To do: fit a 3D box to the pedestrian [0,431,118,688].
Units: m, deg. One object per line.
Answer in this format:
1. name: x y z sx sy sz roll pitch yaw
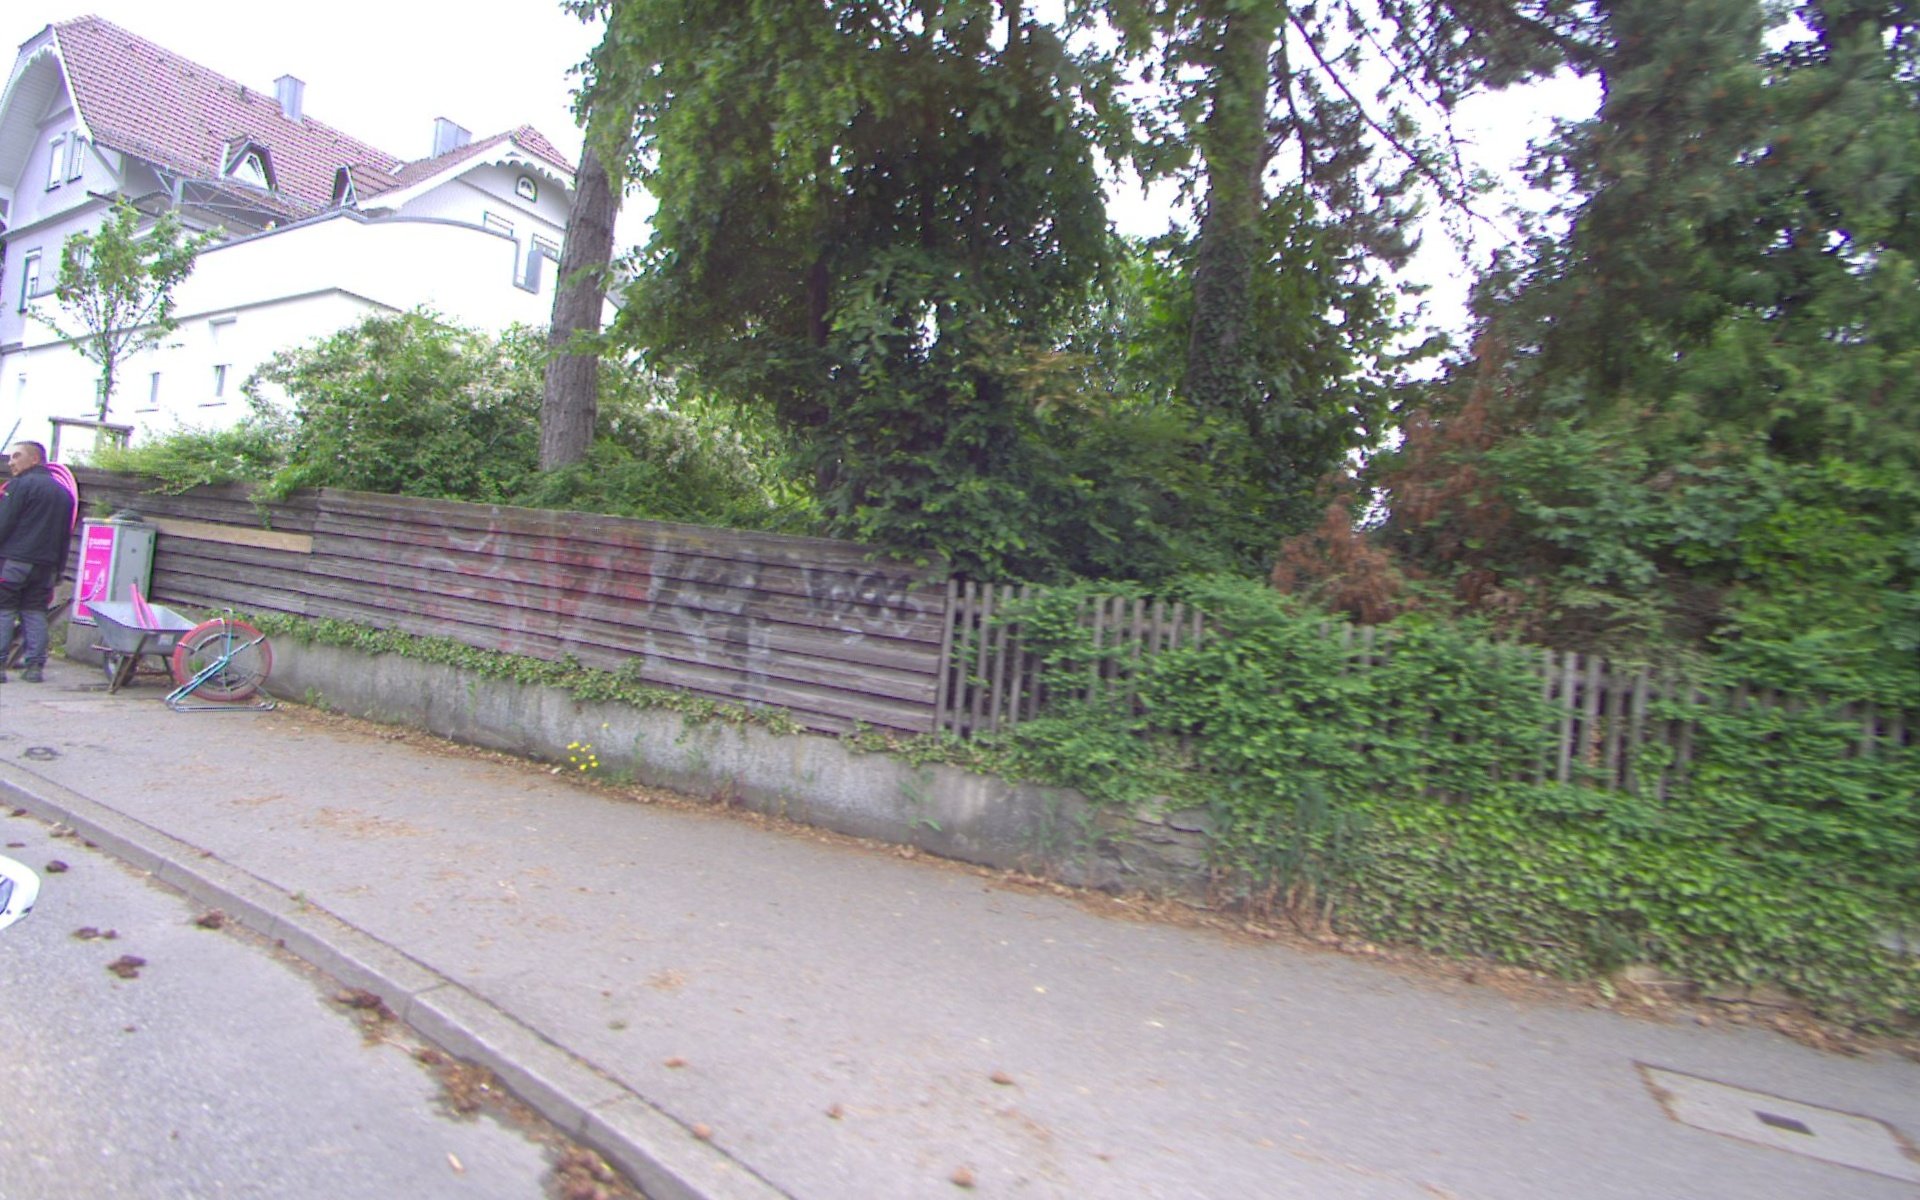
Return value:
1. pedestrian: -7.601 -0.326 8.039 0.786 1.946 0.849 7 0 10
